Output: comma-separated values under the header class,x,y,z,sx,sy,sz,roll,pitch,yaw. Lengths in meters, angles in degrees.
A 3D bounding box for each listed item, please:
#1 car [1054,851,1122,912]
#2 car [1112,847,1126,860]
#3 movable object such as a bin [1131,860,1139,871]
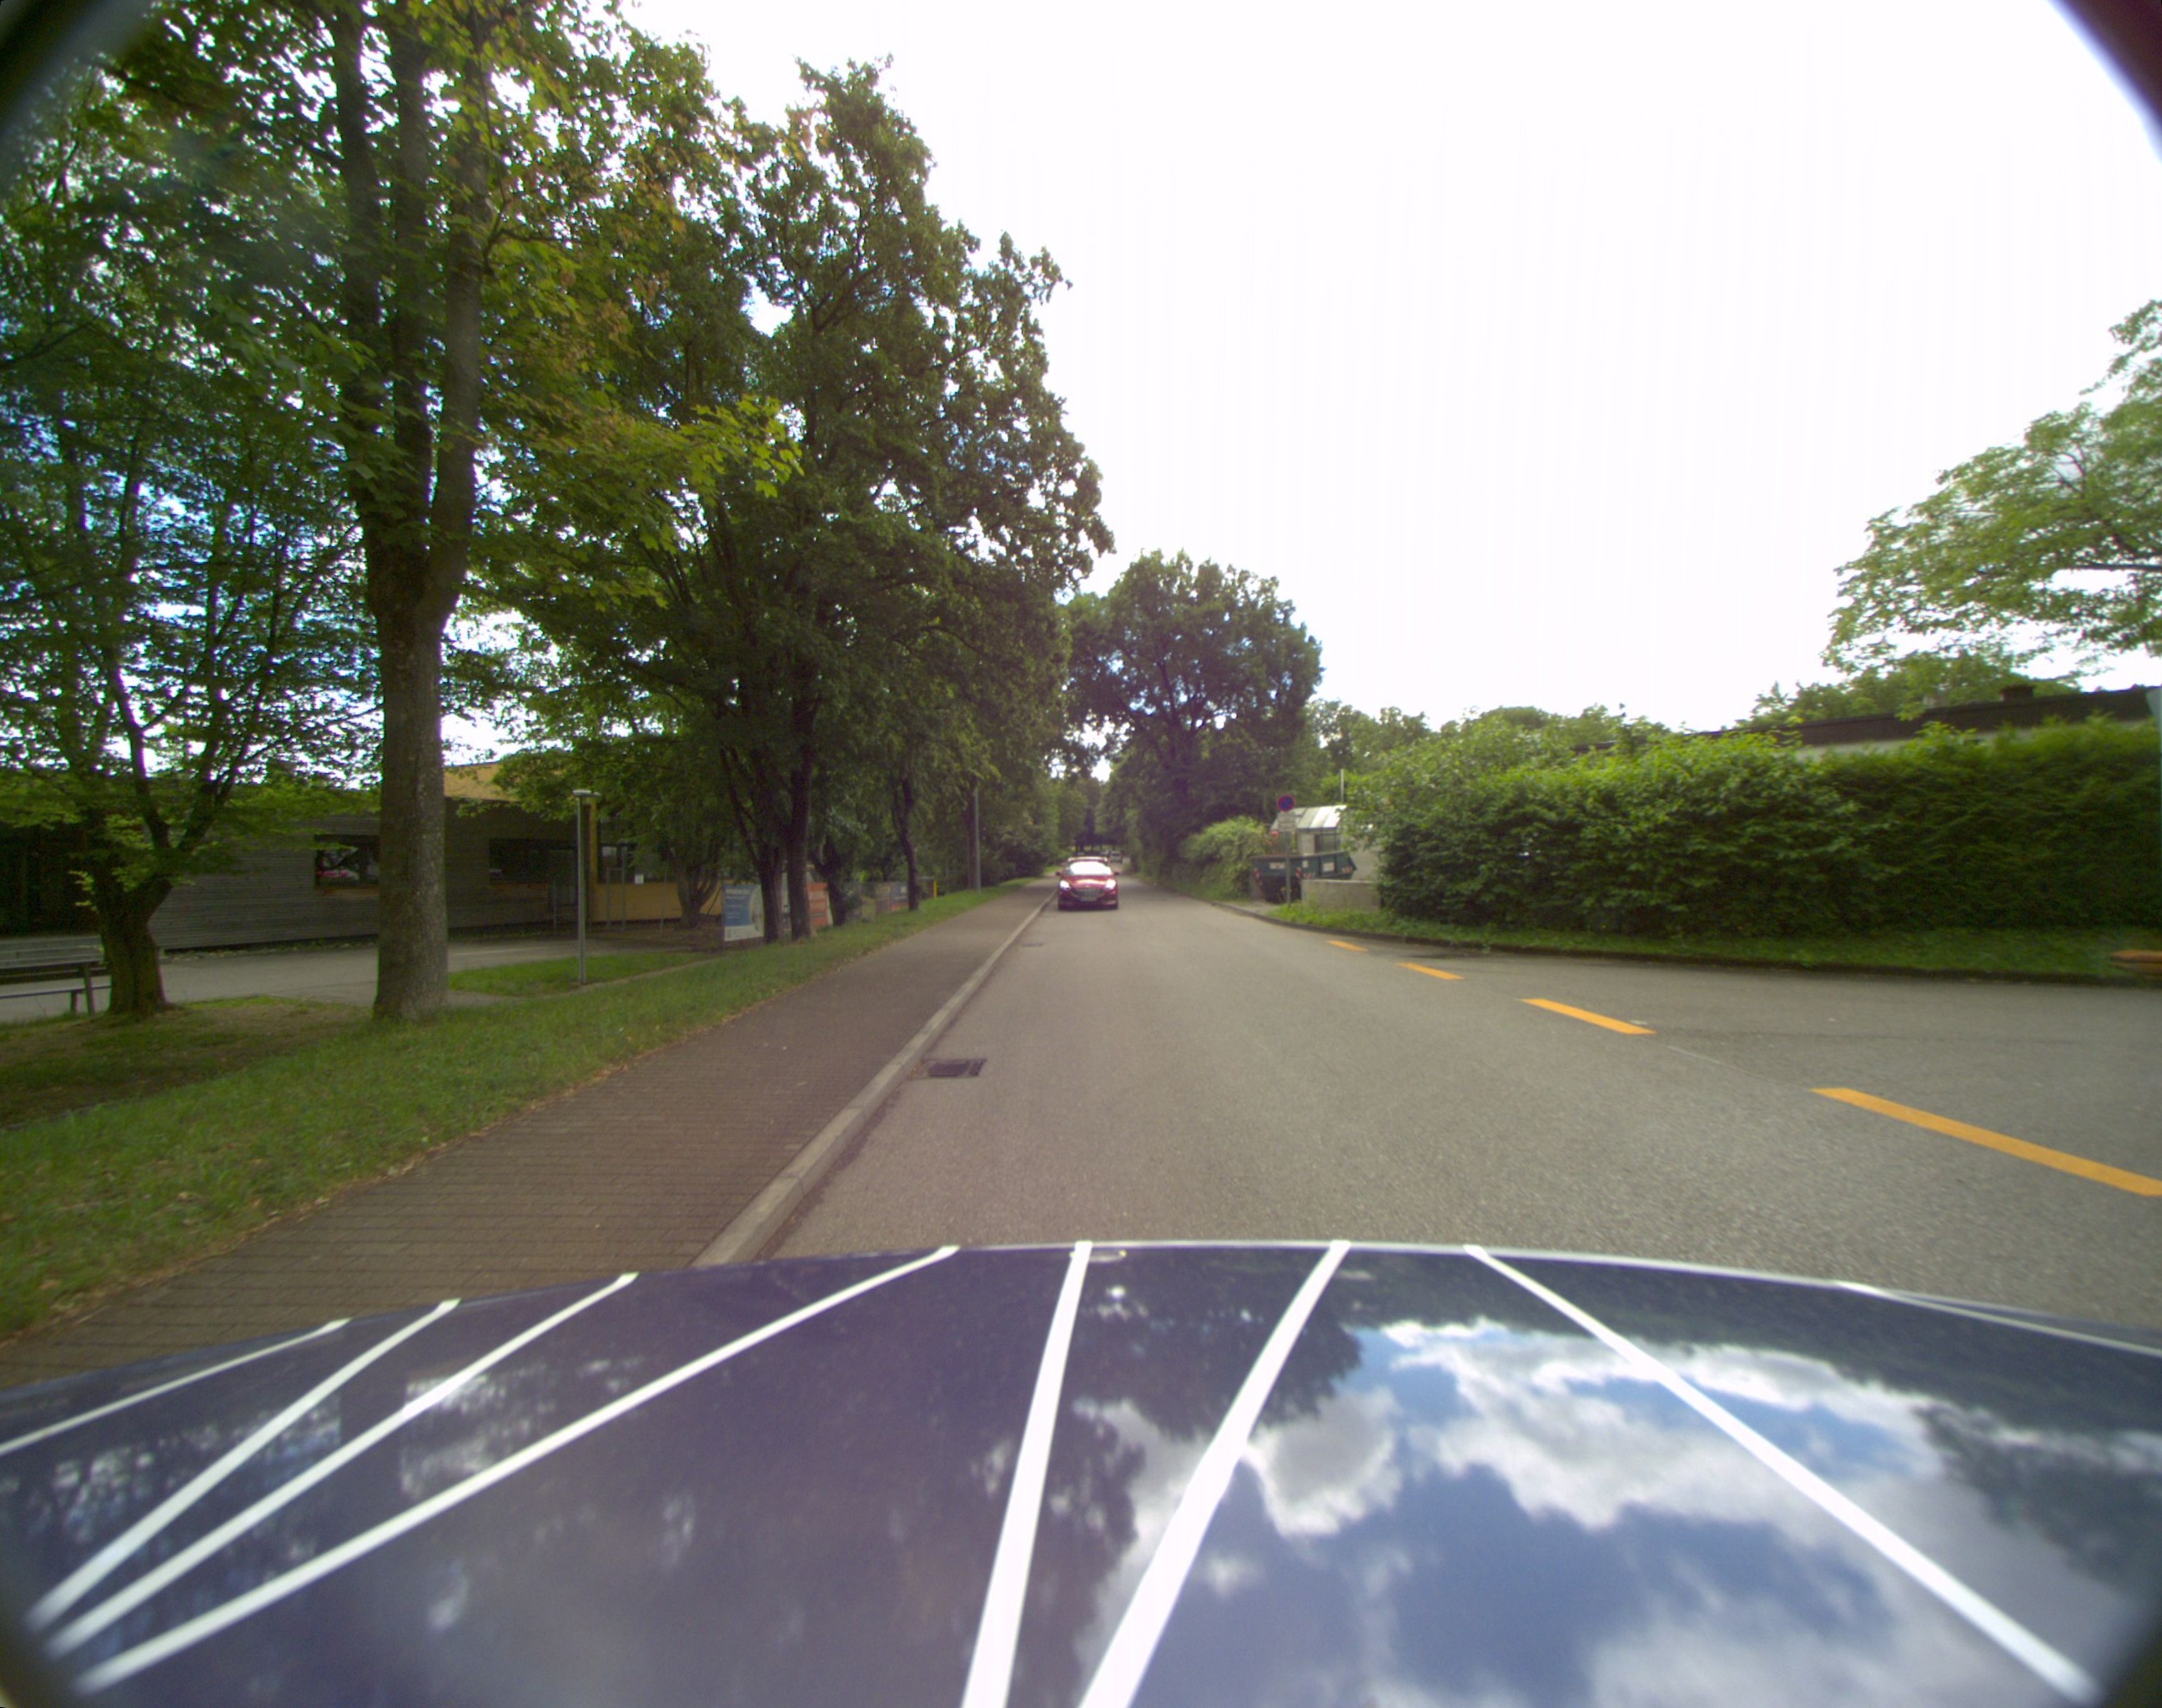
class,x,y,z,sx,sy,sz,roll,pitch,yaw
car,0.320,0.808,24.670,1.816,1.717,4.001,1,1,6
car,5.763,-0.106,116.240,1.878,1.902,4.430,0,1,0
movable object such as a bin,4.979,1.063,69.796,0.649,1.007,0.632,0,2,16
